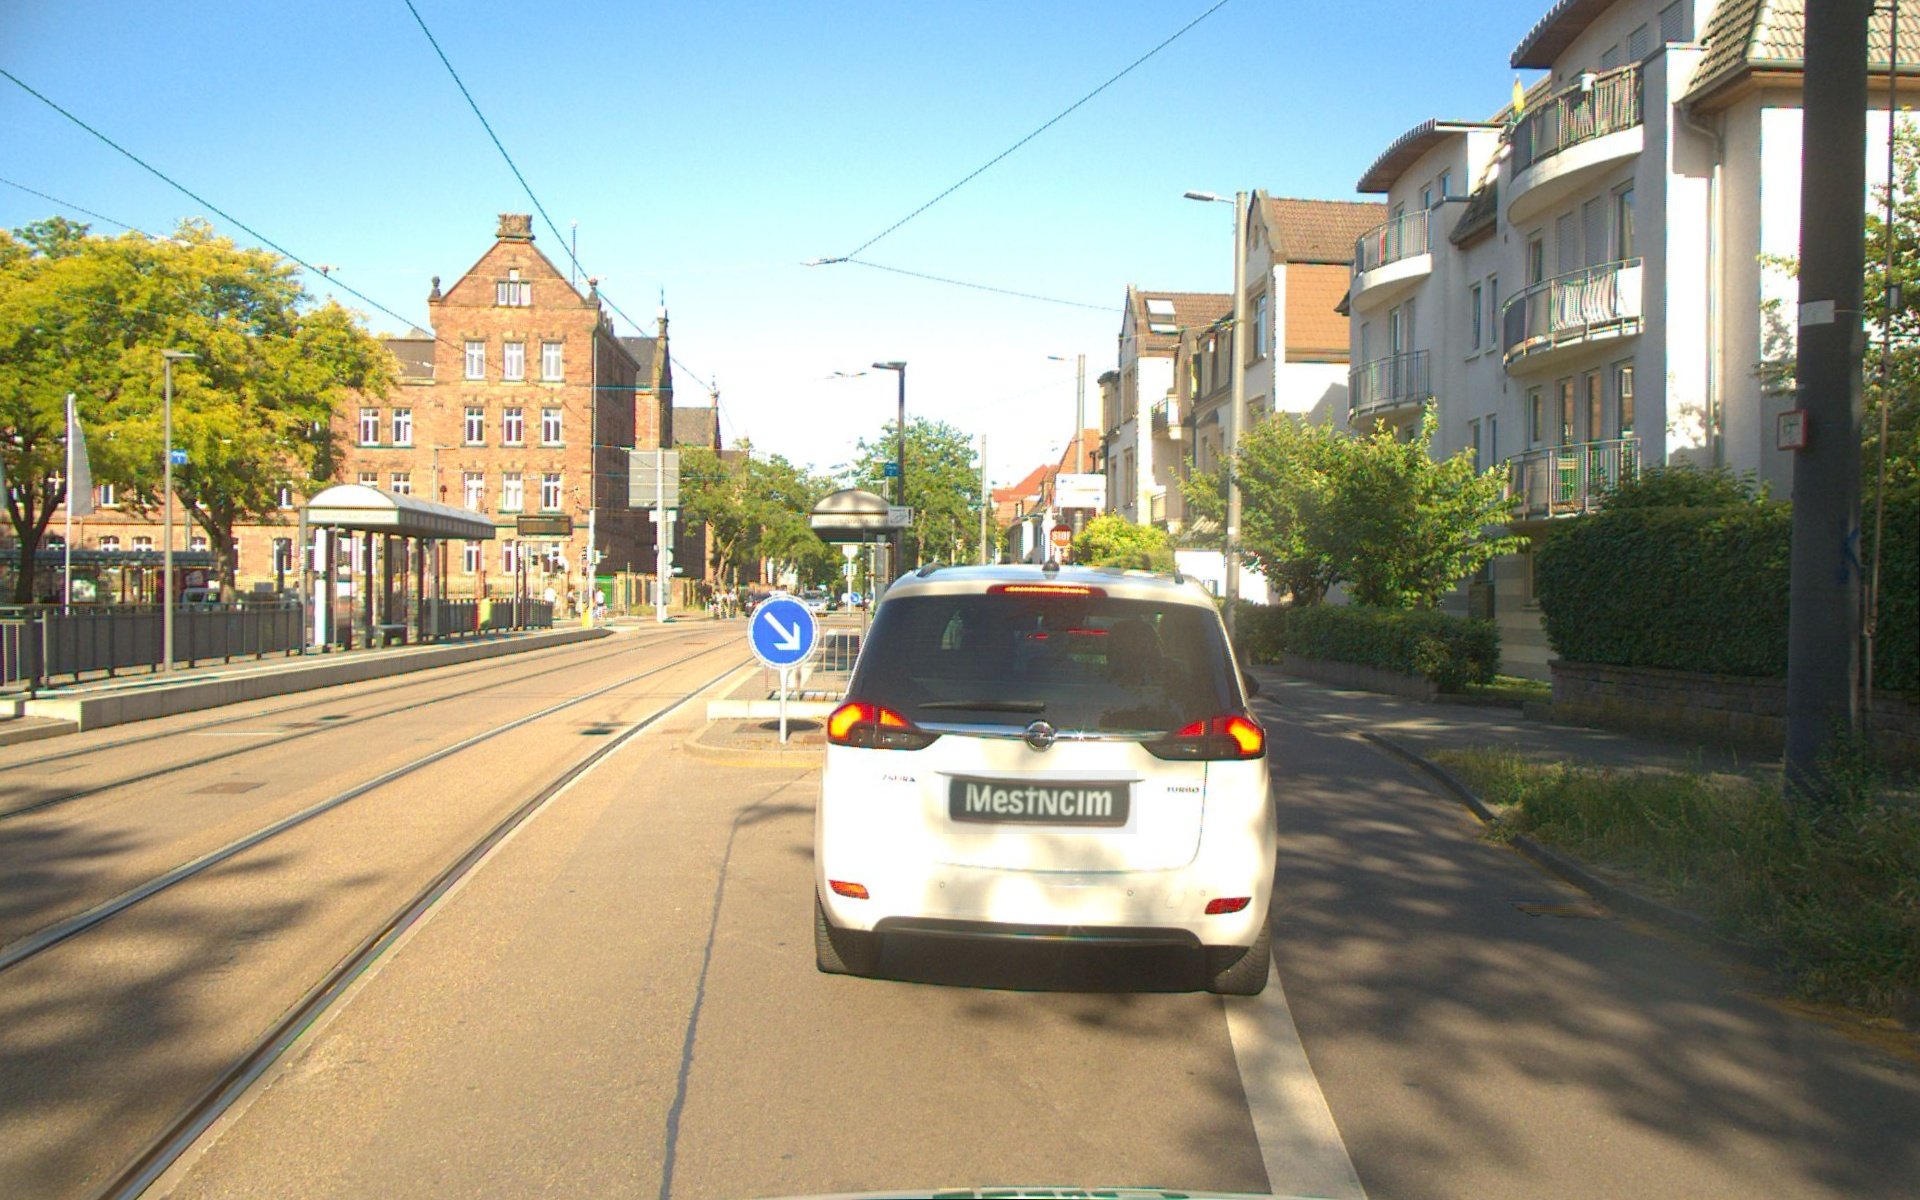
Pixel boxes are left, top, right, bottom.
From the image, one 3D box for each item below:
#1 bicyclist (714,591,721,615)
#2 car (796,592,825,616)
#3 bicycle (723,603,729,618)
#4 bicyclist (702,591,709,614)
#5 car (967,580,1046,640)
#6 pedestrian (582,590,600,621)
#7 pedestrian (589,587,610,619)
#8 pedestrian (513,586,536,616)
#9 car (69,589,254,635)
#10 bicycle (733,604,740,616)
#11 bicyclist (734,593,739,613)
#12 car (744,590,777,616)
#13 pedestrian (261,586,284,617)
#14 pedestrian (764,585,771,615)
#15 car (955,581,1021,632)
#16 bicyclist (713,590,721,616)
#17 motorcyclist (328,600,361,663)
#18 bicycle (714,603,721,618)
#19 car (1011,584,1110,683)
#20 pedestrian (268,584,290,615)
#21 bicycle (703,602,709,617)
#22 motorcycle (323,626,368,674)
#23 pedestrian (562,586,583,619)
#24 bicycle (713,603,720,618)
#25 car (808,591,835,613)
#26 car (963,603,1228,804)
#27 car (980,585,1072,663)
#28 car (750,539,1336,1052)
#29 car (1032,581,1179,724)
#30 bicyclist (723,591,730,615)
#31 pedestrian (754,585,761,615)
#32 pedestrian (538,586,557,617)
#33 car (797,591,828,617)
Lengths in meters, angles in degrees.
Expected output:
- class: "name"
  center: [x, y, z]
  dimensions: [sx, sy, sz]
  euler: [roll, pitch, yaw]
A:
- class: "bicyclist"
  center: [-15.573, 0.182, 106.313]
  dimensions: [0.435, 1.580, 0.495]
  euler: [0, 0, -4]
- class: "car"
  center: [-10.350, 0.258, 114.243]
  dimensions: [1.955, 1.657, 3.996]
  euler: [0, 0, -5]
- class: "bicycle"
  center: [-15.392, 0.671, 108.907]
  dimensions: [0.337, 0.966, 0.996]
  euler: [1, 0, -4]
- class: "bicyclist"
  center: [-17.648, 0.180, 114.812]
  dimensions: [0.435, 1.580, 0.495]
  euler: [0, 0, -4]
- class: "car"
  center: [1.204, 0.259, 44.302]
  dimensions: [1.953, 1.529, 3.999]
  euler: [0, 0, -1]
- class: "pedestrian"
  center: [-21.200, 0.317, 95.027]
  dimensions: [0.719, 1.744, 0.706]
  euler: [1, -1, 22]
- class: "pedestrian"
  center: [-19.309, 0.152, 88.652]
  dimensions: [0.877, 1.713, 1.029]
  euler: [1, 0, -1]
- class: "pedestrian"
  center: [-23.405, 0.061, 88.910]
  dimensions: [0.789, 1.616, 0.931]
  euler: [1, -1, 37]
- class: "car"
  center: [-35.723, 0.529, 74.179]
  dimensions: [6.810, 1.954, 2.991]
  euler: [0, 0, -2]
- class: "bicycle"
  center: [-15.061, 0.670, 111.415]
  dimensions: [0.337, 0.737, 0.996]
  euler: [1, 0, -4]
- class: "bicyclist"
  center: [-15.058, 0.197, 111.412]
  dimensions: [0.352, 1.326, 0.397]
  euler: [0, 0, -4]
- class: "car"
  center: [-12.855, 0.193, 106.876]
  dimensions: [1.955, 1.657, 3.996]
  euler: [0, 0, -5]
- class: "pedestrian"
  center: [-36.308, 0.081, 87.369]
  dimensions: [0.915, 1.616, 0.802]
  euler: [1, 0, -12]
- class: "pedestrian"
  center: [-13.039, 0.015, 112.045]
  dimensions: [0.435, 2.049, 0.495]
  euler: [0, 0, -4]
- class: "car"
  center: [0.833, 0.192, 51.758]
  dimensions: [1.953, 1.529, 3.999]
  euler: [0, 0, -1]
- class: "bicyclist"
  center: [-15.152, 0.174, 103.037]
  dimensions: [0.435, 1.580, 0.742]
  euler: [0, 0, -4]
- class: "motorcyclist"
  center: [-16.356, 0.831, 43.976]
  dimensions: [0.601, 1.650, 0.843]
  euler: [0, 0, -6]
- class: "bicycle"
  center: [-15.610, 0.656, 106.354]
  dimensions: [0.337, 0.966, 0.996]
  euler: [1, 0, -4]
- class: "car"
  center: [1.719, 0.553, 29.262]
  dimensions: [1.603, 1.629, 3.855]
  euler: [0, 0, 1]
- class: "pedestrian"
  center: [-36.108, -0.038, 87.692]
  dimensions: [0.914, 1.616, 0.803]
  euler: [0, 0, -7]
- class: "bicycle"
  center: [-17.654, 0.656, 114.848]
  dimensions: [0.337, 0.966, 0.996]
  euler: [1, 0, -4]
- class: "motorcycle"
  center: [-16.379, 1.322, 44.130]
  dimensions: [0.599, 1.219, 2.073]
  euler: [0, 0, -6]
- class: "pedestrian"
  center: [-20.673, 0.134, 88.219]
  dimensions: [0.825, 1.721, 1.029]
  euler: [1, 0, -1]
- class: "bicycle"
  center: [-15.161, 0.650, 102.829]
  dimensions: [0.337, 0.966, 1.159]
  euler: [1, 0, -4]
- class: "car"
  center: [-10.941, 0.138, 130.473]
  dimensions: [1.953, 1.657, 3.998]
  euler: [0, 0, -3]
- class: "car"
  center: [1.037, 0.751, 13.975]
  dimensions: [1.912, 1.422, 4.001]
  euler: [0, 0, 1]
- class: "car"
  center: [1.384, 0.494, 36.181]
  dimensions: [1.793, 1.607, 4.009]
  euler: [0, 0, -1]
- class: "car"
  center: [0.463, 0.651, 7.587]
  dimensions: [1.951, 1.673, 3.996]
  euler: [1, 0, 6]
- class: "car"
  center: [1.746, 0.588, 20.833]
  dimensions: [1.603, 1.629, 3.855]
  euler: [0, 0, 1]
- class: "bicyclist"
  center: [-15.382, 0.196, 108.900]
  dimensions: [0.435, 1.580, 0.495]
  euler: [0, 0, -4]
- class: "pedestrian"
  center: [-13.645, 0.003, 111.703]
  dimensions: [0.435, 2.049, 0.495]
  euler: [0, 0, -4]
- class: "pedestrian"
  center: [-22.047, 0.082, 88.379]
  dimensions: [0.786, 1.616, 0.934]
  euler: [1, 0, -3]
- class: "car"
  center: [-9.545, 0.243, 107.149]
  dimensions: [1.955, 1.657, 3.996]
  euler: [0, 0, -5]
